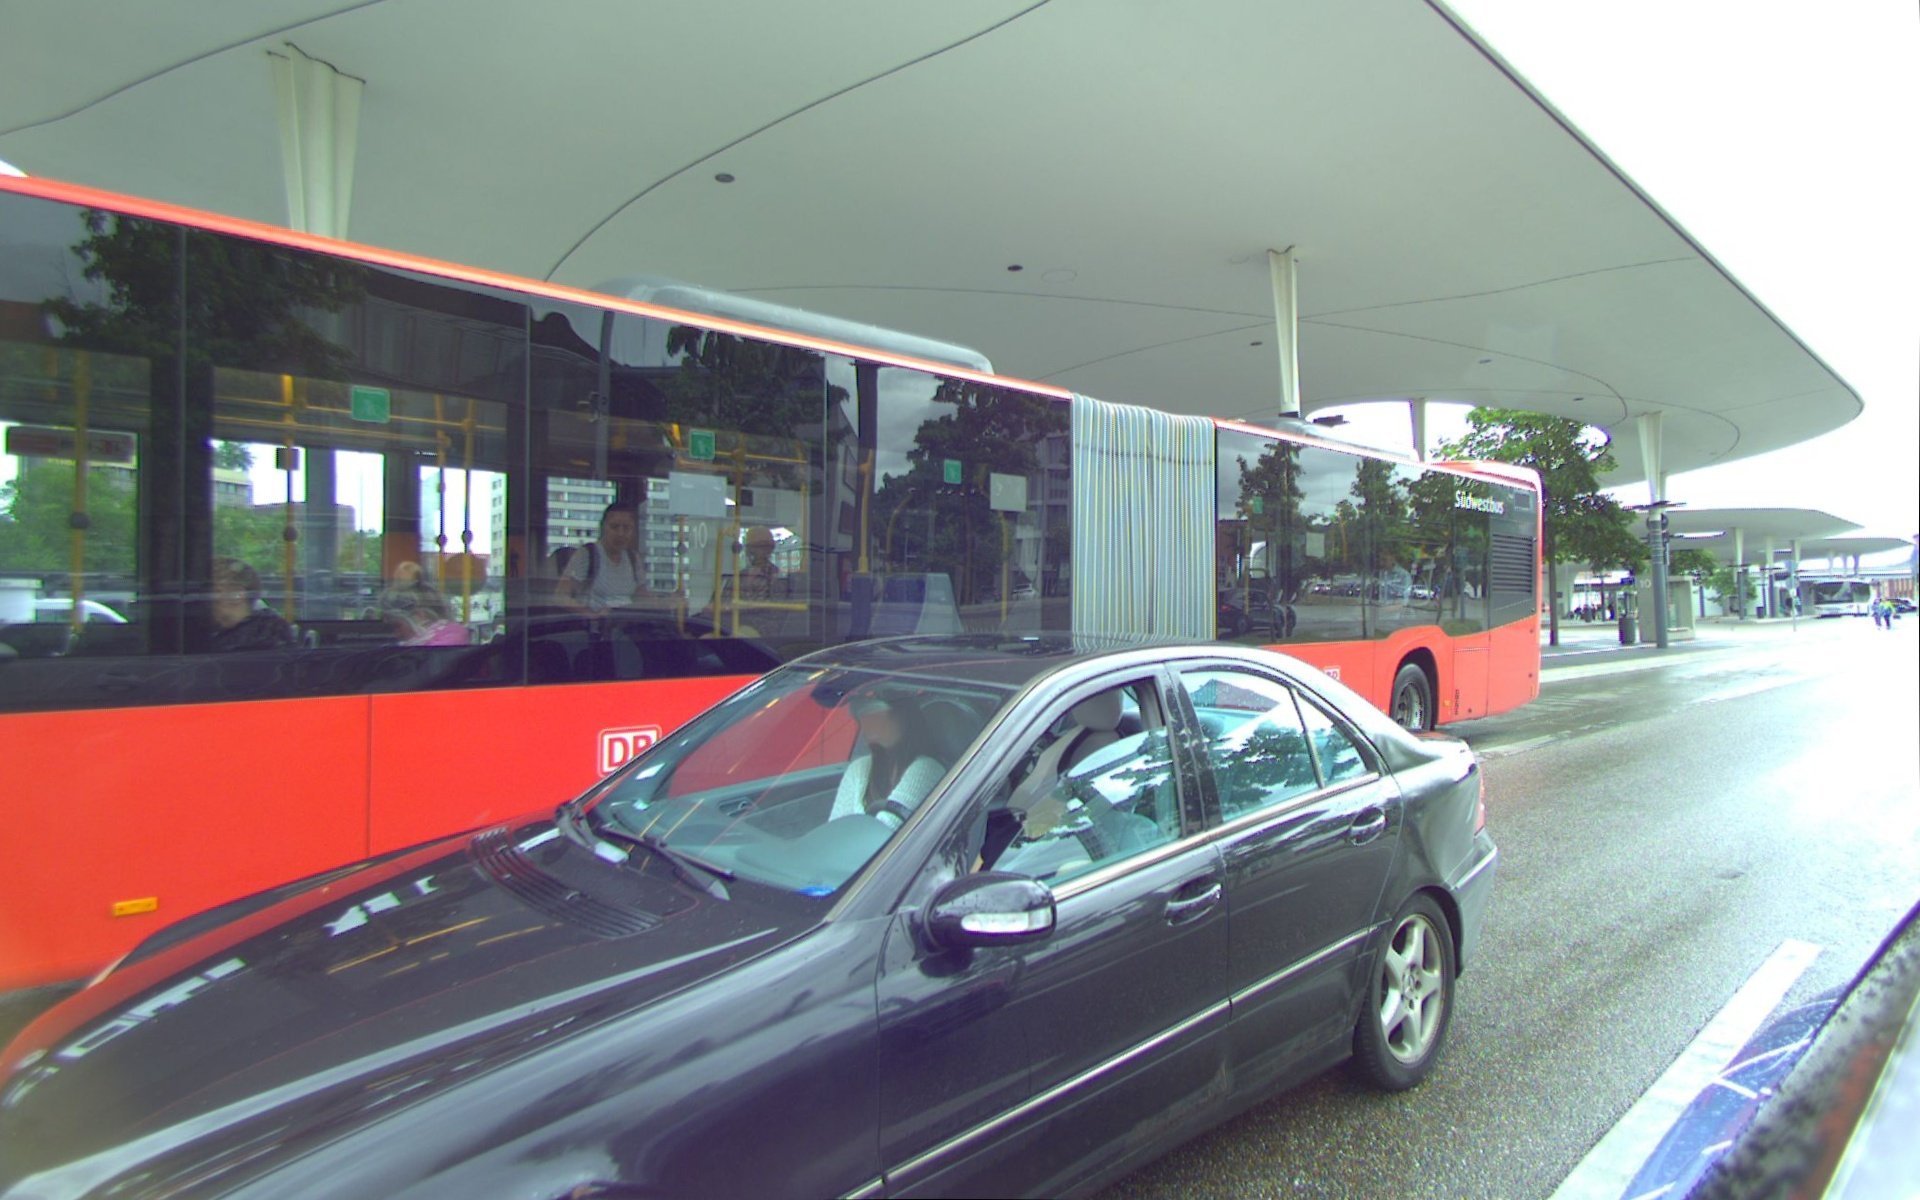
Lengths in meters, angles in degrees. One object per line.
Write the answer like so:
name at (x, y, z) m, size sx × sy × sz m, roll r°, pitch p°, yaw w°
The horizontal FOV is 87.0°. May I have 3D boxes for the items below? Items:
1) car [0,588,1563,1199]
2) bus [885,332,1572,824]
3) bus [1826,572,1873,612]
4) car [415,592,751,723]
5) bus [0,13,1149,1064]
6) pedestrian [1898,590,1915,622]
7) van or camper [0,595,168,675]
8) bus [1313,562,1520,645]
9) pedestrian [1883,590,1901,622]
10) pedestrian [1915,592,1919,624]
car at (0.027, 0.796, 3.012) m, size 4.359 × 1.499 × 1.747 m, roll -1°, pitch -2°, yaw -42°
bus at (3.252, -0.157, 10.283) m, size 7.978 × 3.214 × 2.747 m, roll 0°, pitch 0°, yaw -41°
bus at (75.373, -0.664, 85.697) m, size 2.666 × 3.169 × 9.565 m, roll -1°, pitch -1°, yaw 43°
car at (-5.514, 0.760, 15.125) m, size 4.356 × 1.670 × 1.803 m, roll 0°, pitch -2°, yaw -41°
bus at (-3.417, -0.193, 4.494) m, size 10.016 × 3.214 × 2.747 m, roll 0°, pitch 0°, yaw -41°
pedestrian at (48.728, 0.325, 52.081) m, size 0.543 × 1.645 × 0.556 m, roll 0°, pitch -1°, yaw -41°
van or camper at (-29.779, 1.107, 33.219) m, size 5.868 × 2.495 × 2.106 m, roll 0°, pitch -1°, yaw -41°
bus at (20.006, 0.163, 43.734) m, size 12.134 × 3.147 × 3.001 m, roll 0°, pitch -2°, yaw -40°
pedestrian at (48.441, 0.327, 52.602) m, size 0.577 × 1.645 × 0.576 m, roll 0°, pitch -1°, yaw -41°
pedestrian at (49.056, 0.404, 51.511) m, size 0.543 × 1.645 × 0.556 m, roll 0°, pitch -1°, yaw -41°
